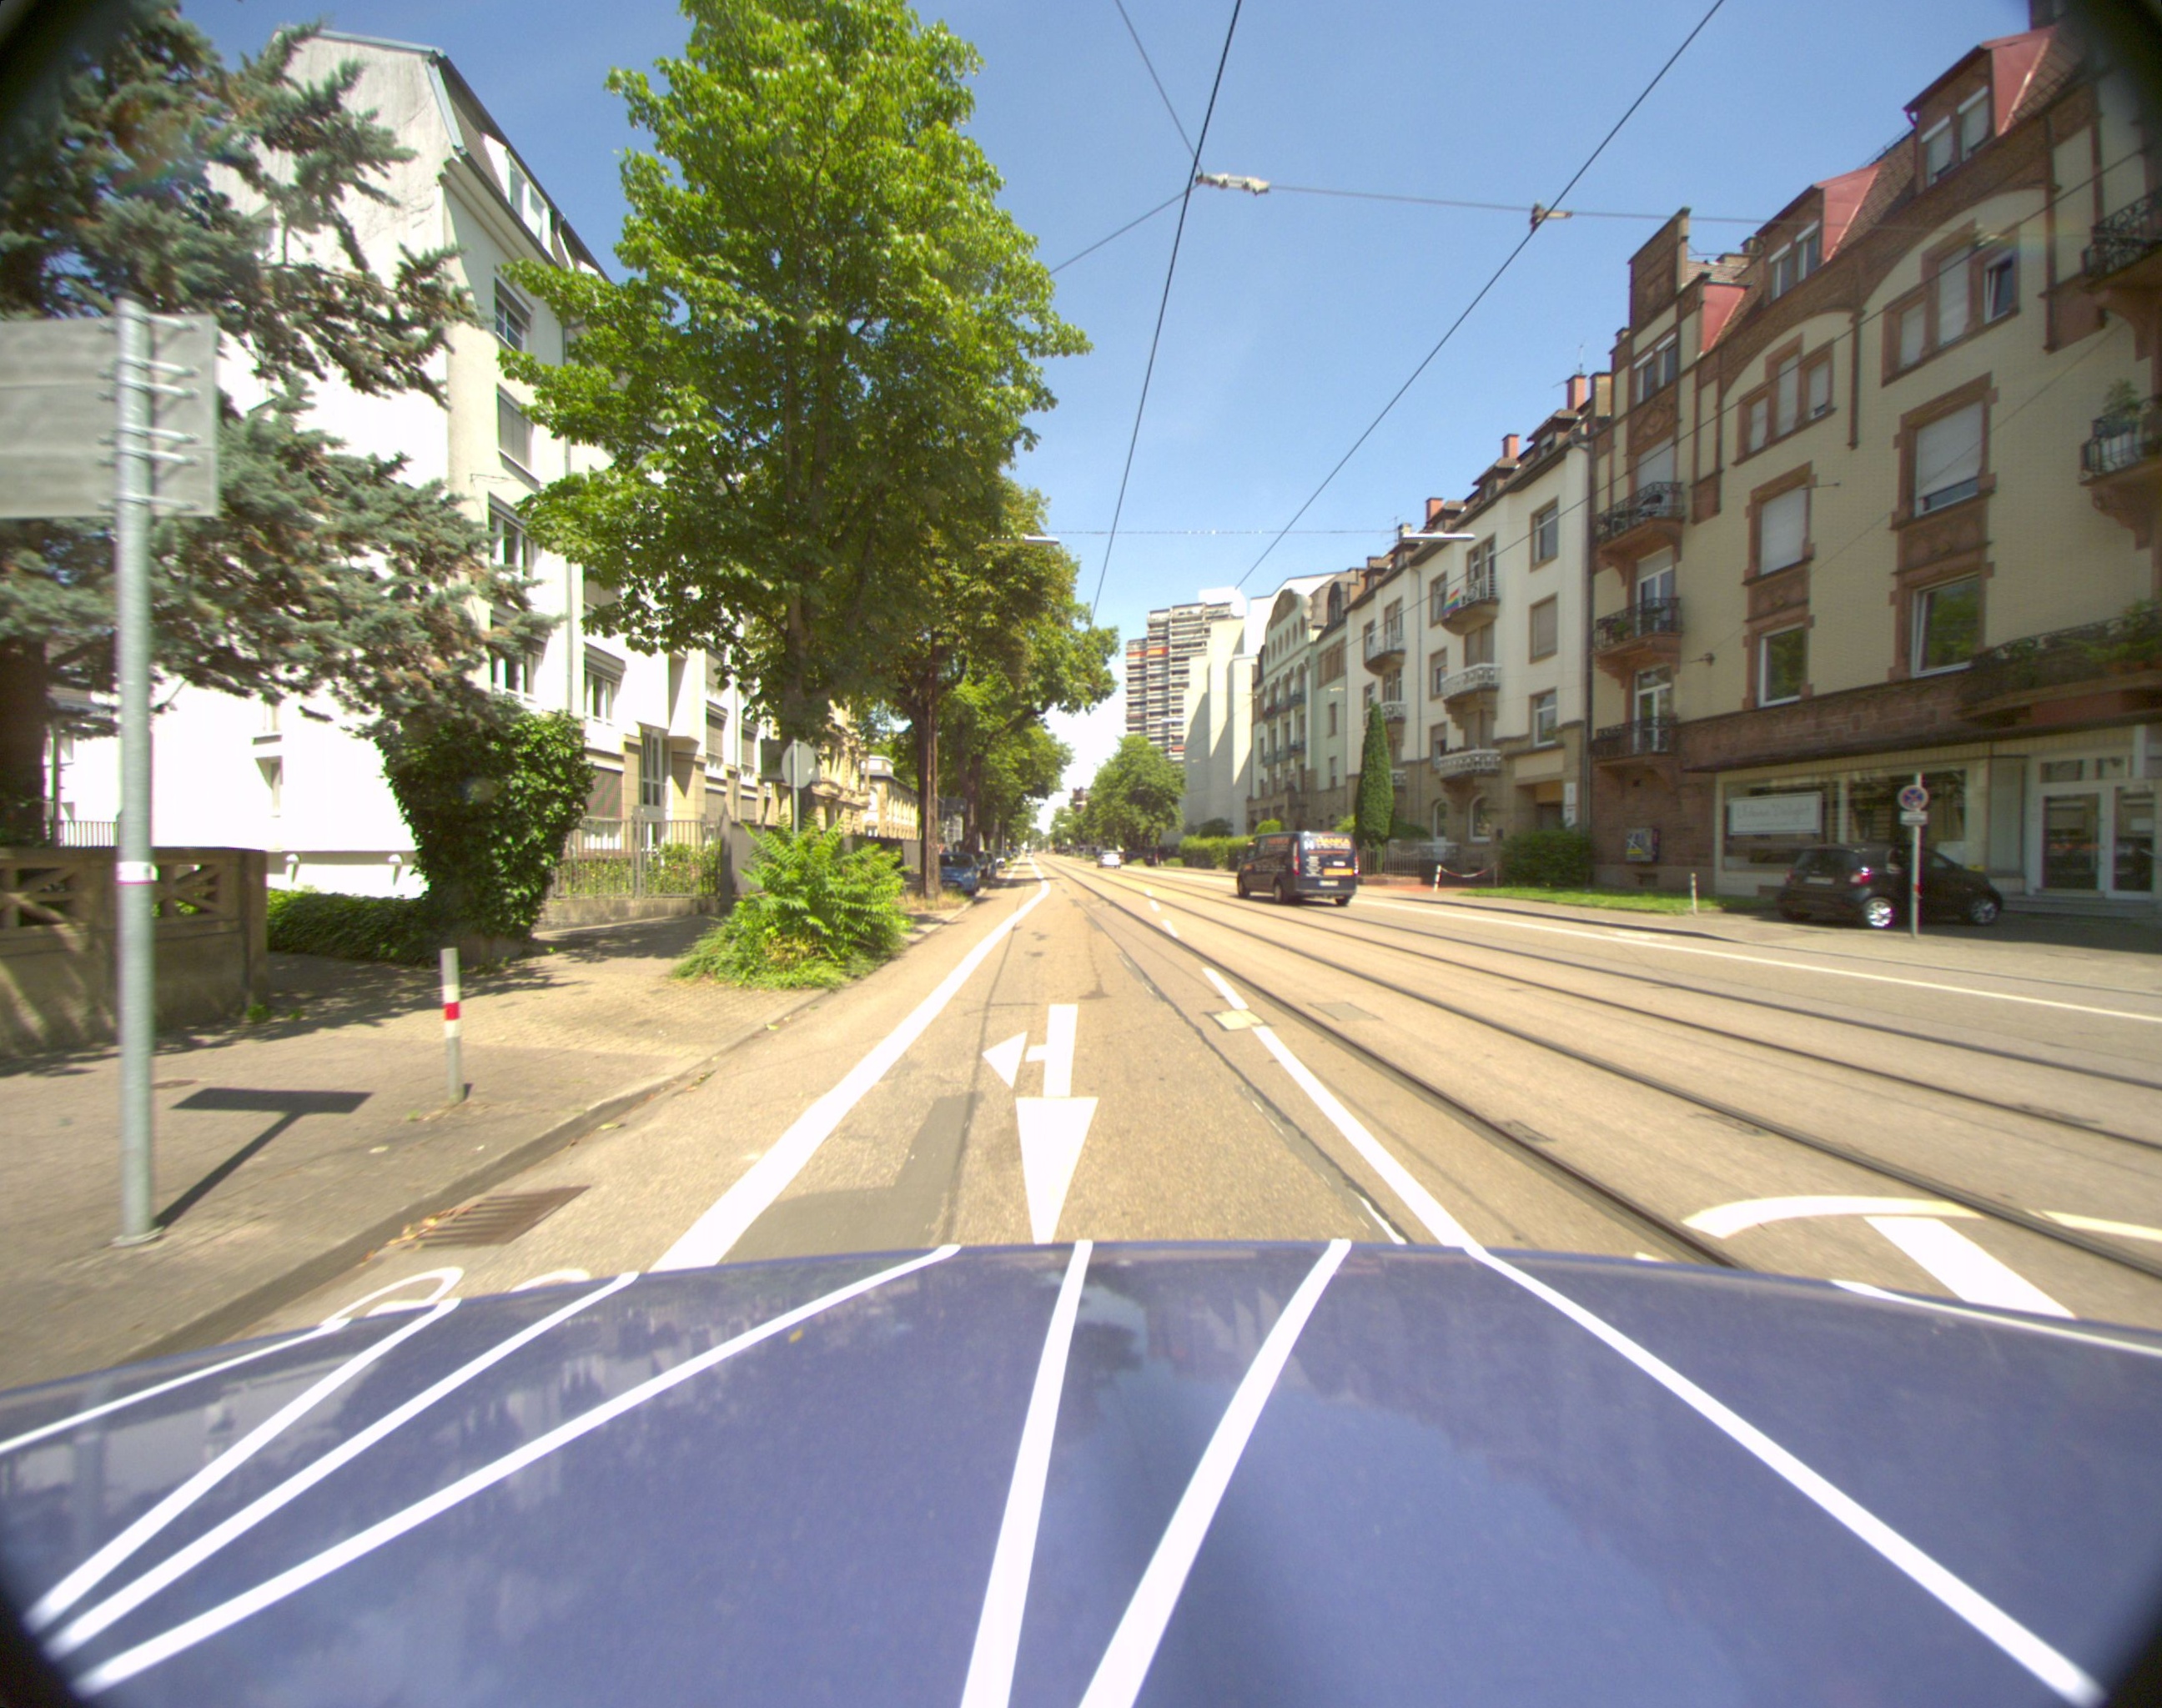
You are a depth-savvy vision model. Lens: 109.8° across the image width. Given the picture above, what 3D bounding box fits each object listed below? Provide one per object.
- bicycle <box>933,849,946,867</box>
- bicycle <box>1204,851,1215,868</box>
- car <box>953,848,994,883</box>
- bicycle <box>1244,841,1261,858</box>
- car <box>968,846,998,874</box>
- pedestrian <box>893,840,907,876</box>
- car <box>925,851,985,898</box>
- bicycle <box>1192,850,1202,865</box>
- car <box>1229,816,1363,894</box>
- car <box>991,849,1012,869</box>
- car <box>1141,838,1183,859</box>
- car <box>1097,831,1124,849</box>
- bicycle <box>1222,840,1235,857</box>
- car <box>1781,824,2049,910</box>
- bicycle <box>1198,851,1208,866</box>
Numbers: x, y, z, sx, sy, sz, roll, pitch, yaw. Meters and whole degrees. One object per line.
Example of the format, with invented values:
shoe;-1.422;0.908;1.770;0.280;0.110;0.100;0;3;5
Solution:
bicycle;-10.094;0.245;54.258;0.689;1.217;2.117;-1;1;-5
bicycle;9.299;0.382;54.909;0.340;1.157;1.931;-1;1;-5
car;-5.216;0.523;37.273;1.682;1.488;3.916;2;1;-4
bicycle;10.035;-0.287;44.569;0.400;0.965;2.045;-1;1;-5
car;-5.855;0.329;45.883;1.615;1.488;3.580;2;2;-5
pedestrian;-8.732;0.179;36.716;0.547;1.683;0.755;1;2;-5
car;-4.448;0.670;27.324;1.688;1.453;3.998;2;1;-4
bicycle;8.987;0.270;58.898;0.340;1.062;1.727;-1;2;-5
car;5.924;-0.028;21.633;1.849;1.927;4.818;2;1;-8
car;-6.654;0.439;63.904;1.648;1.587;4.113;2;0;-5
car;7.653;-0.533;71.452;3.915;1.958;1.908;-2;2;-44
car;2.418;-1.175;63.103;1.713;1.404;3.822;2;1;-6
bicycle;9.714;-0.364;50.051;0.290;1.040;1.898;-1;1;-5
car;15.456;0.215;14.205;3.362;1.463;1.529;-1;1;-1
bicycle;9.148;0.326;56.886;0.340;1.062;1.727;-1;2;-5
